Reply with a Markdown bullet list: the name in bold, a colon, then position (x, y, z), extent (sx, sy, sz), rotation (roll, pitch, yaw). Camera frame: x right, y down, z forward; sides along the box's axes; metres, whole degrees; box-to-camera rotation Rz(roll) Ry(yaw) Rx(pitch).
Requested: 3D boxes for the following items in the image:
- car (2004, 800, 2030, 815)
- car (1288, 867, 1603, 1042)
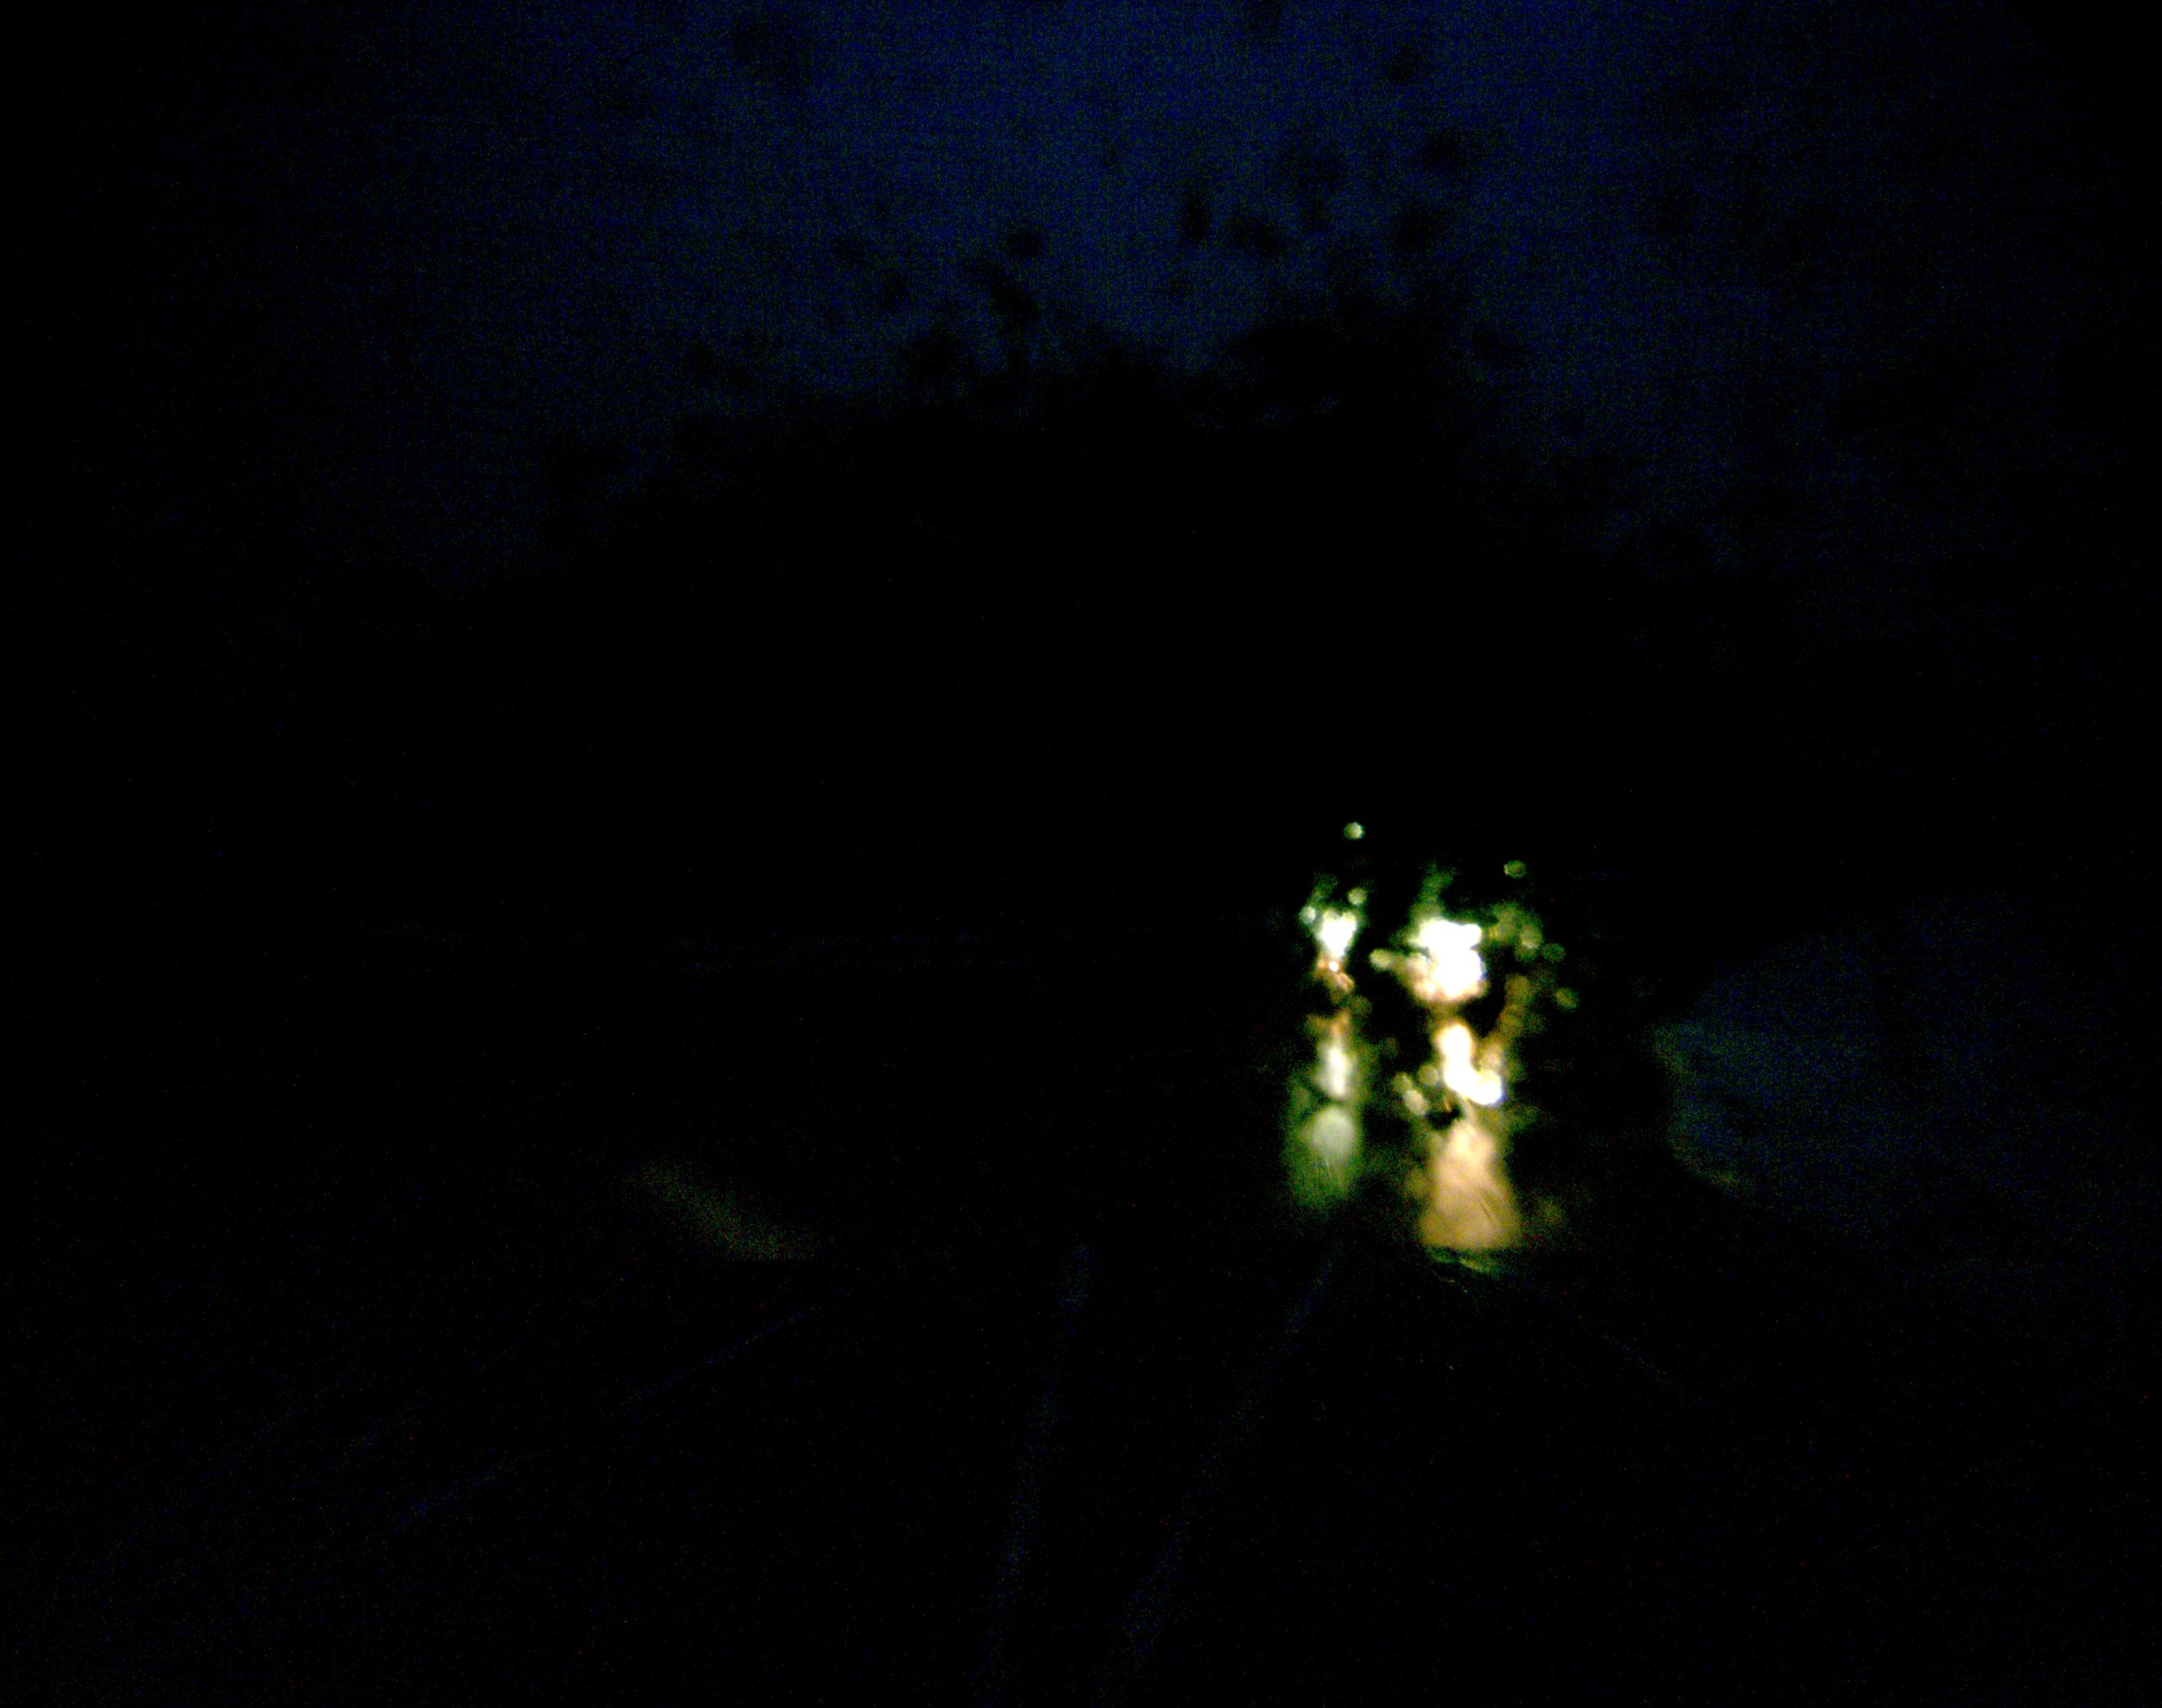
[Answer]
- **car**: position (118.011, -5.879, 95.777), extent (4.007, 1.796, 1.995), rotation (-3, 1, -38)
- **car**: position (4.216, 0.934, 8.582), extent (3.683, 1.426, 1.722), rotation (-2, 0, -38)
